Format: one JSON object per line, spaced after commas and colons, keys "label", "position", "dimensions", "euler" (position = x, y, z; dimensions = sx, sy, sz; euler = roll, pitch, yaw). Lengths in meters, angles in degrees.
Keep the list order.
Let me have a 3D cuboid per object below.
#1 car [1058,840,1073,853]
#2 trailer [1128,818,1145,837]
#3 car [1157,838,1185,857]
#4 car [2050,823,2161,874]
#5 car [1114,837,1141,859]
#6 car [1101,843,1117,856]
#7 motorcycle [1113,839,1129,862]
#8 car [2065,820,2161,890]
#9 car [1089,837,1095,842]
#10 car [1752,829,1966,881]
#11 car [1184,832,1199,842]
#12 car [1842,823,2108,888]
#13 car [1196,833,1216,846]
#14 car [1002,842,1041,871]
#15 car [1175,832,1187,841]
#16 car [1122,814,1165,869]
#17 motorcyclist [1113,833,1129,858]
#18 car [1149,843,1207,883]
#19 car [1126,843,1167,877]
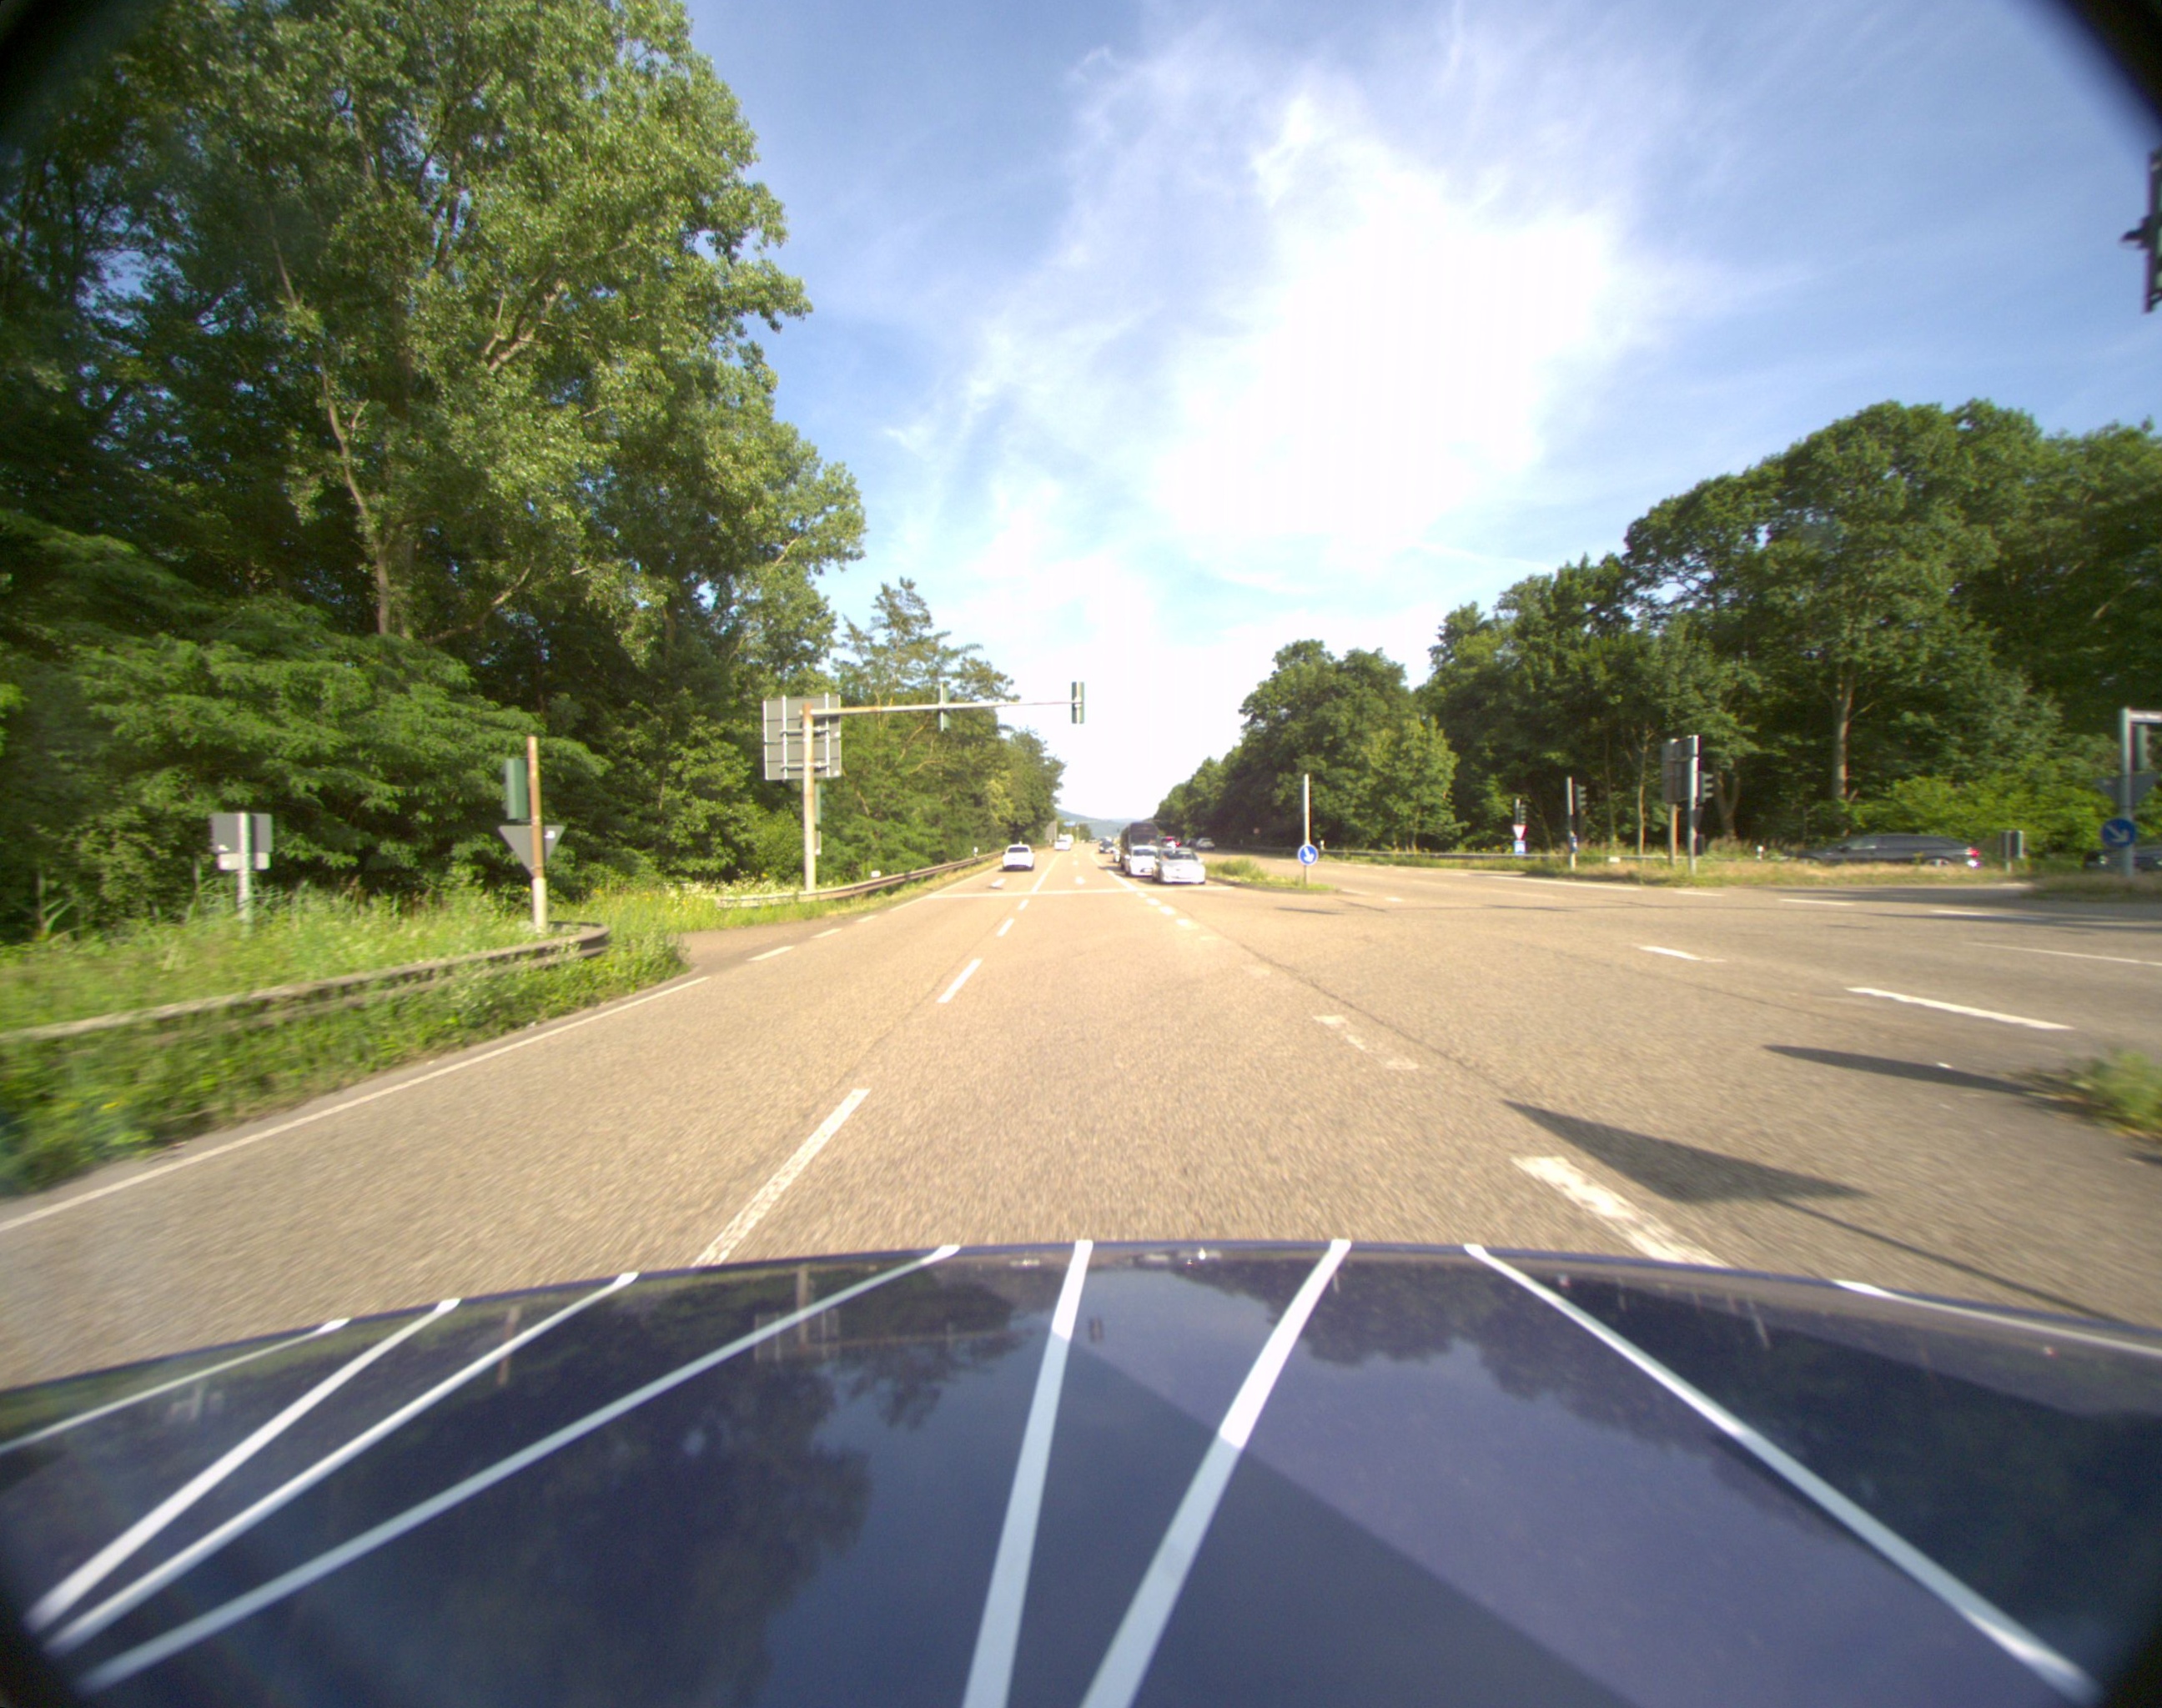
{"label": "car", "position": [-2.191, -1.114, 109.292], "dimensions": [1.999, 1.633, 3.999], "euler": [-3, 1, 0]}
{"label": "trailer", "position": [12.566, -6.011, 173.581], "dimensions": [2.999, 3.973, 14.011], "euler": [-3, 1, 2]}
{"label": "car", "position": [8.574, -0.670, 72.863], "dimensions": [2.081, 1.753, 4.755], "euler": [0, 1, 0]}
{"label": "car", "position": [32.150, -0.236, 21.711], "dimensions": [5.194, 1.335, 2.055], "euler": [-2, 1, 20]}
{"label": "car", "position": [3.578, -0.496, 59.036], "dimensions": [1.874, 1.513, 4.833], "euler": [-2, 1, 1]}
{"label": "car", "position": [3.396, -0.575, 92.278], "dimensions": [1.861, 1.453, 4.569], "euler": [-3, 1, 2]}
{"label": "motorcycle", "position": [2.639, -0.226, 49.415], "dimensions": [0.910, 1.445, 2.689], "euler": [2, 1, 5]}
{"label": "car", "position": [26.035, -0.056, 17.448], "dimensions": [4.419, 1.482, 1.999], "euler": [-3, 1, -2]}
{"label": "car", "position": [2.834, -3.929, 201.758], "dimensions": [1.498, 1.346, 3.553], "euler": [-3, 1, 0]}
{"label": "car", "position": [25.320, 0.046, 25.007], "dimensions": [4.550, 1.482, 2.003], "euler": [-2, 2, 31]}
{"label": "car", "position": [17.425, -2.723, 119.853], "dimensions": [1.720, 1.495, 3.976], "euler": [0, 1, 1]}
{"label": "car", "position": [23.958, 0.028, 20.557], "dimensions": [4.415, 1.482, 2.001], "euler": [-2, 1, 9]}
{"label": "car", "position": [15.507, -1.786, 94.352], "dimensions": [1.888, 1.495, 4.264], "euler": [0, 1, 1]}
{"label": "car", "position": [-3.543, 0.117, 46.047], "dimensions": [1.874, 1.625, 4.833], "euler": [0, 1, 1]}
{"label": "car", "position": [18.146, -3.183, 138.531], "dimensions": [1.720, 1.495, 3.976], "euler": [0, 1, 1]}
{"label": "car", "position": [3.494, -0.737, 43.616], "dimensions": [2.215, 2.872, 7.010], "euler": [0, 1, 2]}
{"label": "motorcyclist", "position": [2.596, -0.557, 49.250], "dimensions": [0.885, 1.607, 1.290], "euler": [-3, 2, 5]}
{"label": "car", "position": [3.747, 0.283, 30.182], "dimensions": [1.739, 1.413, 4.801], "euler": [0, 1, 0]}
{"label": "car", "position": [3.041, 0.218, 35.975], "dimensions": [1.650, 1.481, 4.103], "euler": [0, 1, 0]}
